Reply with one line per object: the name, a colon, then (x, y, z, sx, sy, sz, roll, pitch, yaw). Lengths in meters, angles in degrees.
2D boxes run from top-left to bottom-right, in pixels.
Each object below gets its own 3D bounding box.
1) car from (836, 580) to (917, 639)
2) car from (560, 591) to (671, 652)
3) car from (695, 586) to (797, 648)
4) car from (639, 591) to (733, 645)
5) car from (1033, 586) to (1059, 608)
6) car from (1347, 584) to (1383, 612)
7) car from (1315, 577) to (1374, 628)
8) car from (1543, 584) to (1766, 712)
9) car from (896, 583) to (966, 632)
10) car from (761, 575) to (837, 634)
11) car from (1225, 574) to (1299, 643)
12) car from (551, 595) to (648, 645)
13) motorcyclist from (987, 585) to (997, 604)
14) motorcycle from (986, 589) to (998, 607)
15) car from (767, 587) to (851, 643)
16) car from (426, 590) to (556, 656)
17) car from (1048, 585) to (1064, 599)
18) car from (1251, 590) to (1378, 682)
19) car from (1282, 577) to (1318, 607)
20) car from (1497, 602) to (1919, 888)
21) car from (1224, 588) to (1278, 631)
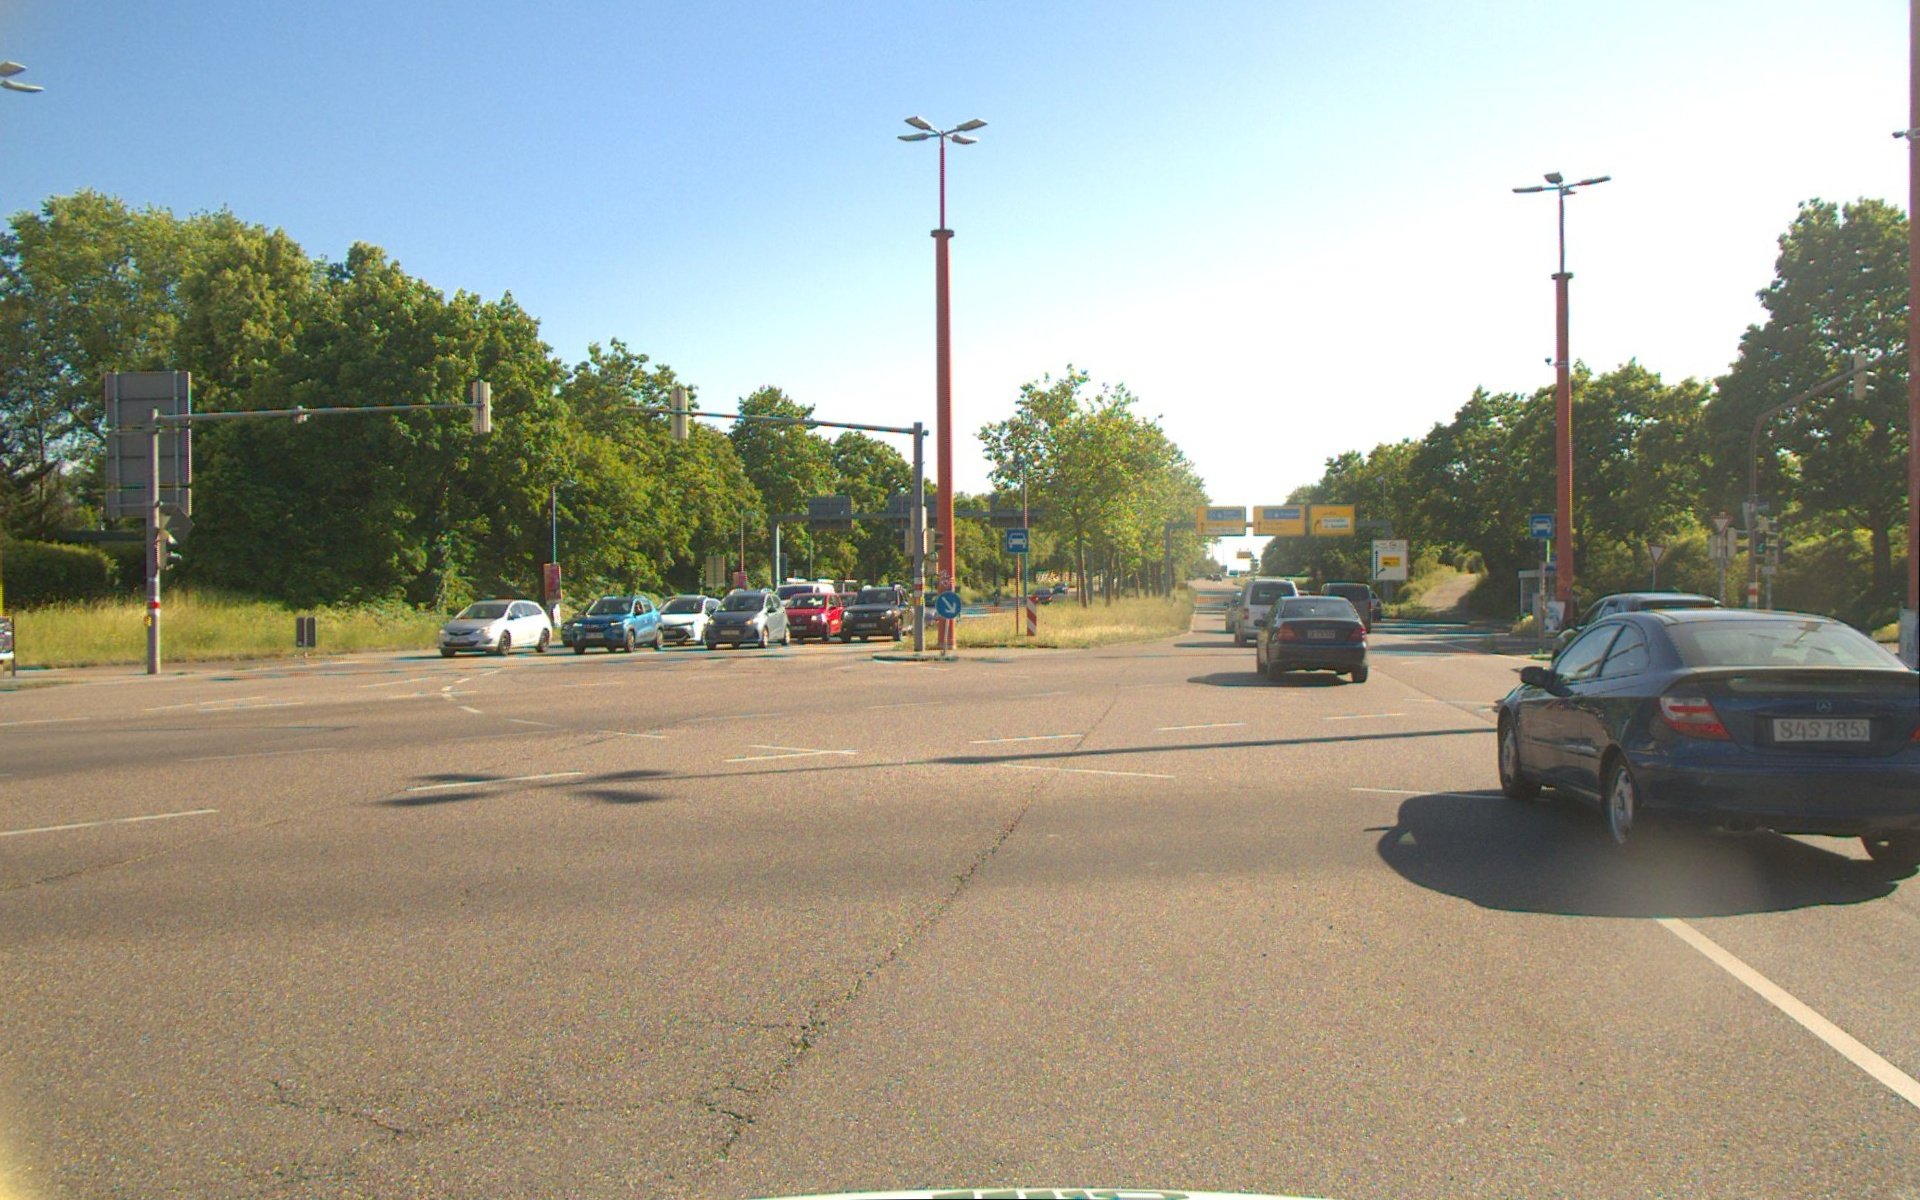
car: (-2.449, 0.262, 49.689, 1.755, 1.654, 4.146, -2, 0, 6)
car: (-9.363, 0.562, 45.281, 1.763, 1.542, 3.862, -2, 0, 7)
car: (-5.901, 0.433, 46.013, 1.834, 1.577, 4.031, -2, 0, 7)
car: (-8.466, 0.530, 51.372, 1.861, 1.582, 4.003, -1, 0, 6)
car: (7.387, -0.264, 142.837, 1.877, 1.878, 3.959, 0, 0, -2)
car: (22.730, -0.108, 92.928, 1.561, 1.517, 3.684, 1, 0, 7)
car: (14.977, 0.081, 64.576, 1.766, 1.884, 5.107, -1, 0, 8)
car: (9.263, 0.587, 22.422, 1.730, 1.534, 4.229, 1, 0, 8)
car: (-0.961, 0.236, 57.045, 1.845, 1.570, 4.003, -2, 0, 7)
car: (-6.239, 0.170, 64.761, 1.920, 2.192, 5.085, -1, 0, 7)
car: (8.643, 0.237, 47.624, 1.766, 1.853, 4.590, 0, 0, 6)
car: (-11.887, 0.630, 54.816, 1.845, 1.539, 4.003, -1, 0, 8)
motorcyclist: (2.931, -0.491, 151.686, 0.756, 1.768, 0.916, 1, 0, 7)
motorcycle: (2.923, -0.179, 151.647, 0.743, 1.637, 2.869, 1, 0, 8)
car: (-4.730, 0.451, 52.258, 1.835, 1.579, 4.003, -3, 0, 6)
car: (-12.809, 0.614, 45.433, 1.837, 1.681, 4.222, -1, 0, 8)
car: (12.672, -1.071, 218.908, 1.874, 1.878, 3.964, 0, 0, 7)
car: (6.173, 0.580, 29.184, 1.677, 1.479, 4.201, -1, 0, 5)
car: (19.171, -0.445, 93.467, 1.679, 1.636, 3.850, 1, 0, 7)
car: (4.692, 0.745, 10.538, 1.682, 1.444, 4.053, 0, 0, 7)
car: (10.771, 0.347, 61.431, 1.766, 1.519, 4.686, 1, 0, 8)
